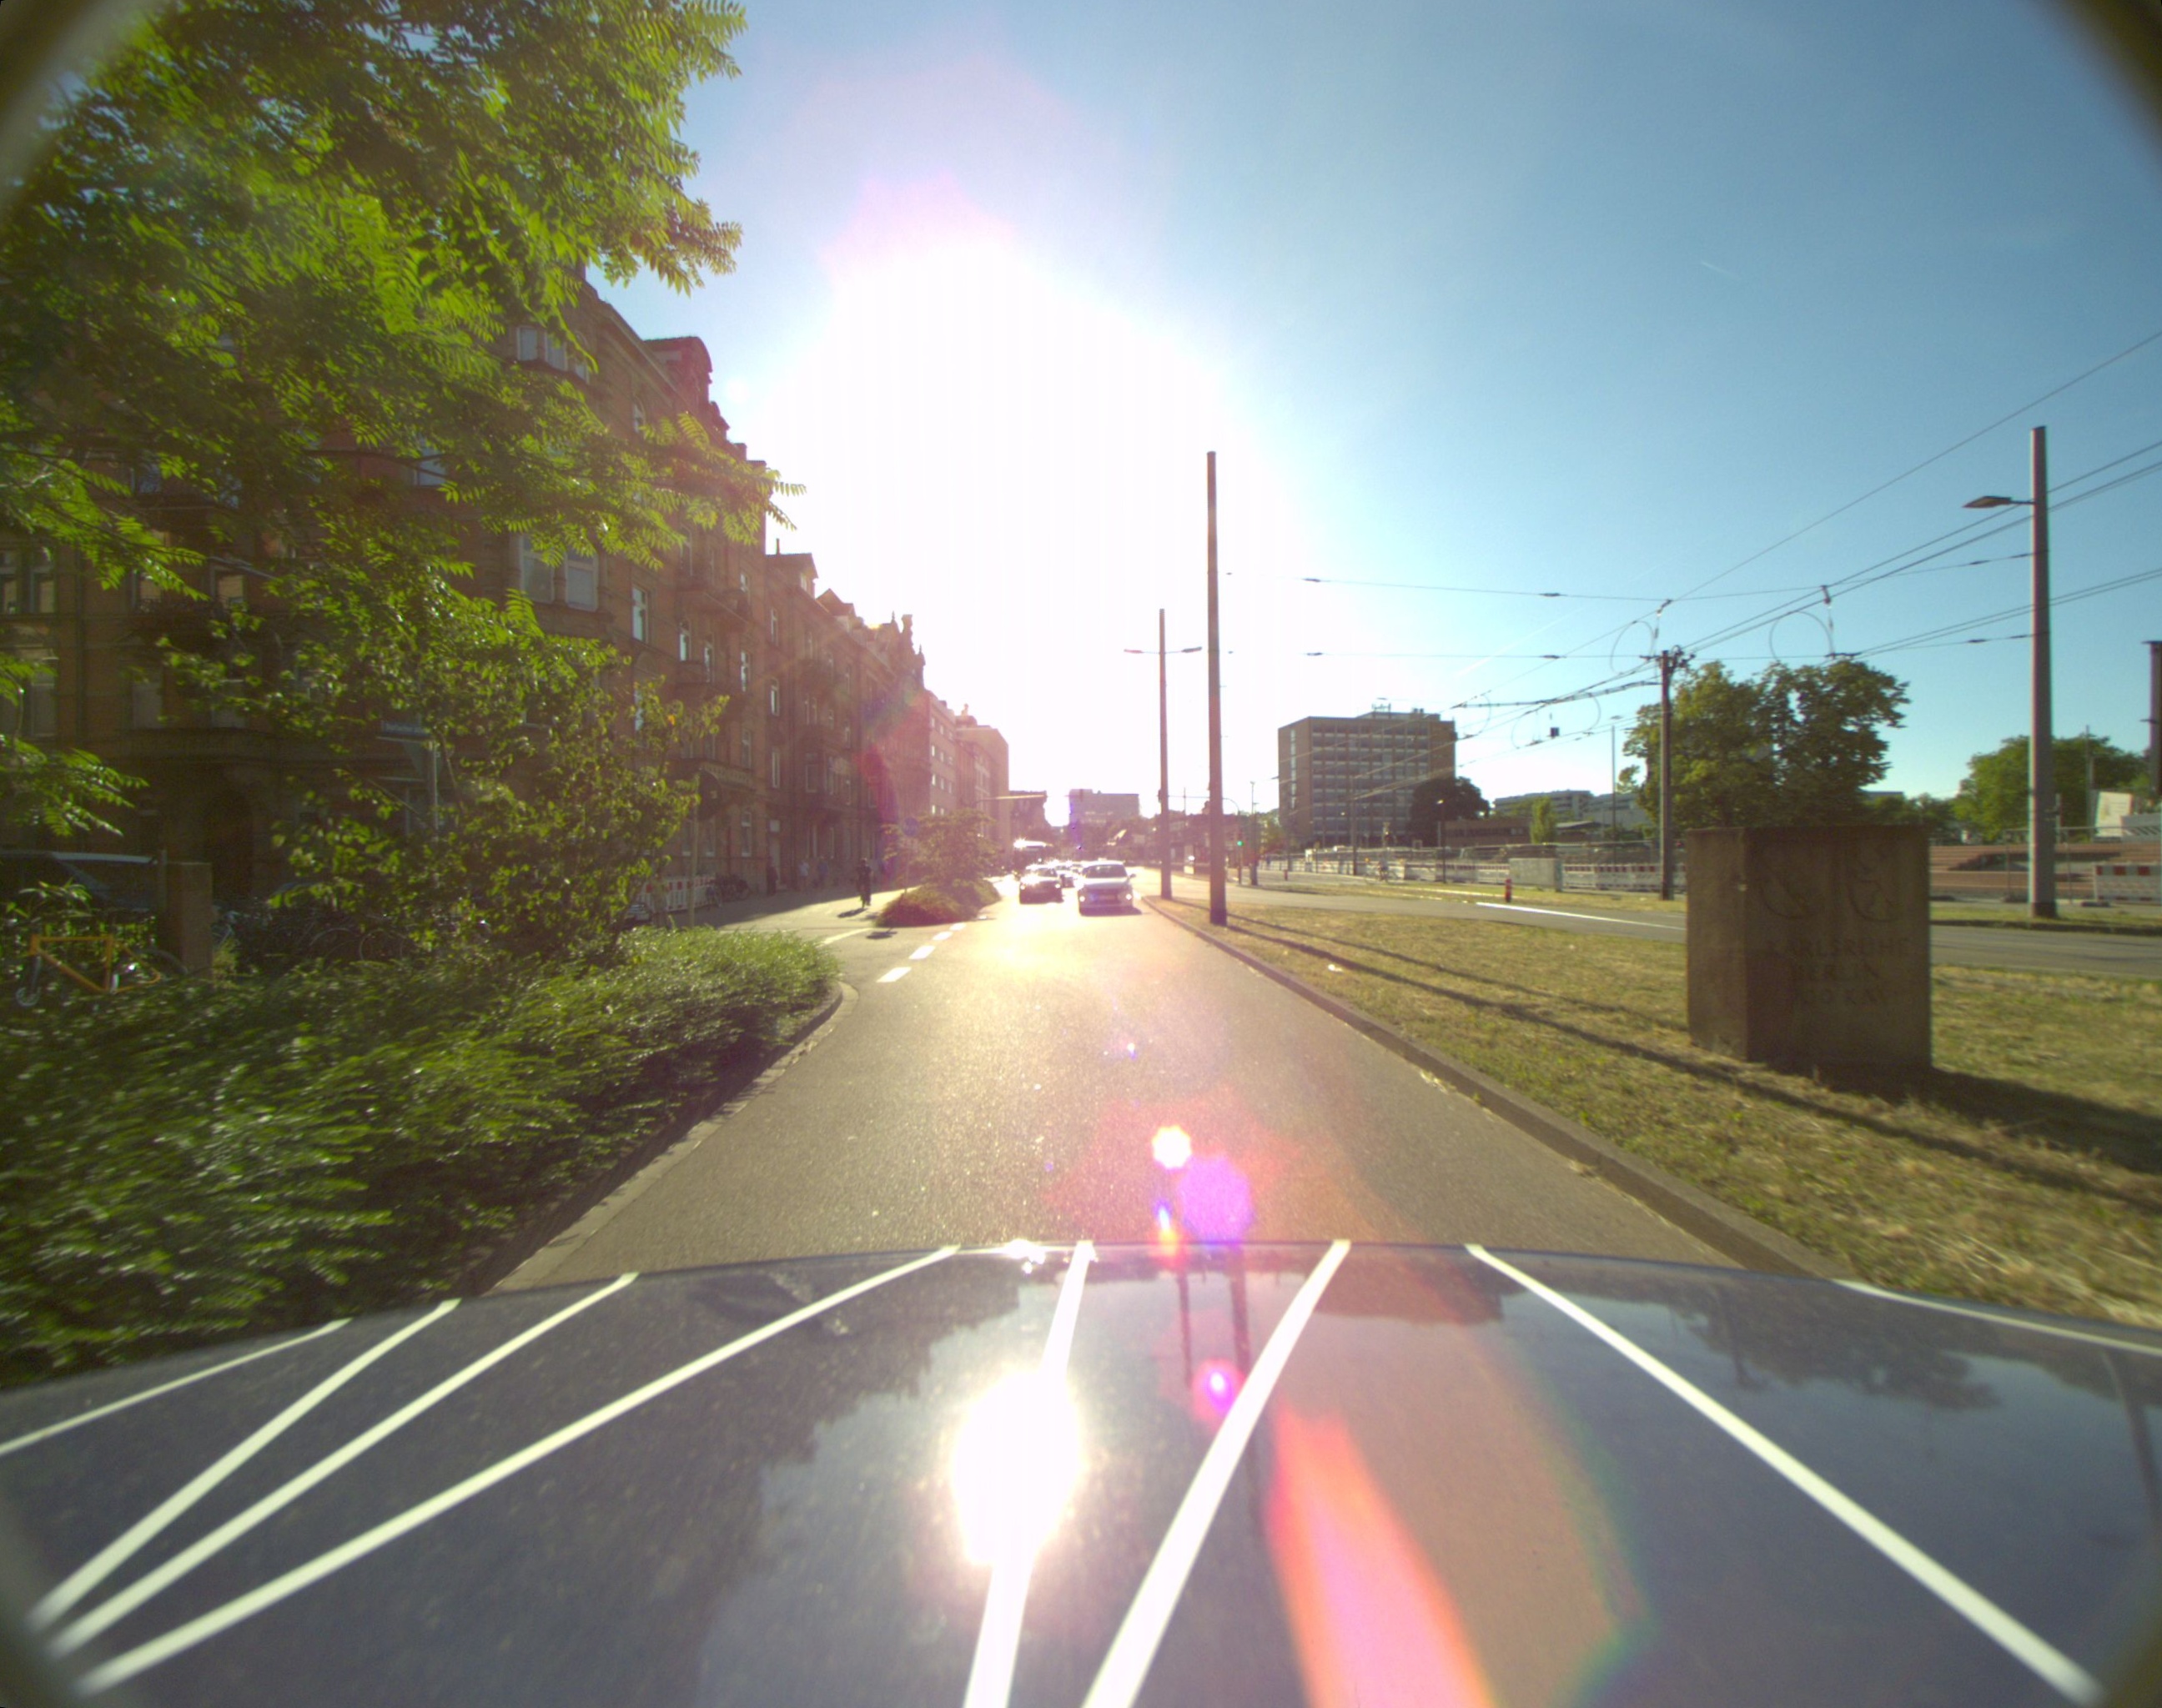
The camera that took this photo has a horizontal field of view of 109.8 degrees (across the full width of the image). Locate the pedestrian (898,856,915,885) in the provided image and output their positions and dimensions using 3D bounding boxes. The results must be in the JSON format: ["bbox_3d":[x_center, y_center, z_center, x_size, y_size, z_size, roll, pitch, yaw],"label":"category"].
[{"bbox_3d":[-10.110,0.970,44.094,0.704,1.646,1.137,-1,0,1],"label":"pedestrian"}]

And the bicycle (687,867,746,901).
[{"bbox_3d":[-13.482,1.109,28.118,1.890,1.232,0.490,0,2,-11],"label":"bicycle"}]

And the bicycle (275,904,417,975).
[{"bbox_3d":[-11.982,1.361,12.475,0.519,1.041,1.822,0,-3,1],"label":"bicycle"}]

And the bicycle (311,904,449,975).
[{"bbox_3d":[-11.430,1.363,12.483,0.519,1.041,1.822,0,-3,1],"label":"bicycle"}]

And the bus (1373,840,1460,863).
[{"bbox_3d":[53.590,-0.318,121.933,2.848,3.173,12.627,3,-4,-45],"label":"bus"}]

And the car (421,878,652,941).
[{"bbox_3d":[-13.017,1.324,18.358,4.261,1.406,1.814,0,-3,1],"label":"car"}]

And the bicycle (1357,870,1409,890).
[{"bbox_3d":[18.033,1.552,45.413,2.818,1.090,0.967,-2,-3,17],"label":"bicycle"}]

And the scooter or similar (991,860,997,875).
[{"bbox_3d":[-7.552,1.174,65.789,0.433,1.242,1.293,0,1,-10],"label":"scooter or similar"}]

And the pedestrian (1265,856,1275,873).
[{"bbox_3d":[19.601,1.100,78.881,0.804,1.757,1.180,0,-2,1],"label":"pedestrian"}]

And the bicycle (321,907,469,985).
[{"bbox_3d":[-10.208,1.333,11.409,0.519,1.041,1.822,0,-3,1],"label":"bicycle"}]

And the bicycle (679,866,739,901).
[{"bbox_3d":[-13.466,1.078,27.530,1.890,1.232,0.490,0,2,-11],"label":"bicycle"}]

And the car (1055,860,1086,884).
[{"bbox_3d":[-0.636,1.123,46.322,1.825,1.379,4.458,1,-2,-1],"label":"car"}]

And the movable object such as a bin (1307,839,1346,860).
[{"bbox_3d":[33.001,-0.575,102.272,2.637,2.509,5.165,1,-3,-16],"label":"movable object such as a bin"}]

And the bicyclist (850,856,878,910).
[{"bbox_3d":[-7.448,0.985,26.104,0.643,1.804,1.052,0,1,1],"label":"bicyclist"}]

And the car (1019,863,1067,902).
[{"bbox_3d":[-1.497,1.123,30.889,1.694,1.380,3.831,-1,0,0],"label":"car"}]

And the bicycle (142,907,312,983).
[{"bbox_3d":[-13.168,1.367,11.807,0.519,1.041,1.822,0,-3,1],"label":"bicycle"}]

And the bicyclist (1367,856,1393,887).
[{"bbox_3d":[17.877,1.087,45.462,1.317,1.797,0.967,-2,-3,17],"label":"bicyclist"}]

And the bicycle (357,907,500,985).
[{"bbox_3d":[-9.695,1.334,11.398,0.519,1.041,1.822,0,-3,1],"label":"bicycle"}]

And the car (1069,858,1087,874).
[{"bbox_3d":[-0.341,1.219,78.271,1.783,1.455,3.915,-1,0,-1],"label":"car"}]

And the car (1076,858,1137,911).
[{"bbox_3d":[0.819,0.885,23.760,1.720,1.483,3.871,-2,0,2],"label":"car"}]

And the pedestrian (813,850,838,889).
[{"bbox_3d":[-12.830,0.793,38.235,0.824,1.918,1.137,-1,0,1],"label":"pedestrian"}]

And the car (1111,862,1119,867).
[{"bbox_3d":[11.107,3.288,247.638,1.757,1.455,4.016,-1,-2,-11],"label":"car"}]

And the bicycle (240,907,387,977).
[{"bbox_3d":[-12.515,1.403,12.480,0.519,1.041,1.822,0,-3,1],"label":"bicycle"}]

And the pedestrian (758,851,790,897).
[{"bbox_3d":[-12.969,0.836,32.137,0.824,1.918,1.137,-1,0,1],"label":"pedestrian"}]

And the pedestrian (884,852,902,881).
[{"bbox_3d":[-10.928,0.736,44.169,0.704,1.646,1.137,-1,0,1],"label":"pedestrian"}]

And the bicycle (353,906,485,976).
[{"bbox_3d":[-10.786,1.386,12.472,0.519,1.041,1.822,0,-3,1],"label":"bicycle"}]

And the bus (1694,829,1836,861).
[{"bbox_3d":[83.158,-1.011,92.677,3.259,3.173,12.627,3,-4,-45],"label":"bus"}]

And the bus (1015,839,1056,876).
[{"bbox_3d":[-4.026,0.316,69.856,2.721,3.162,12.542,0,0,2],"label":"bus"}]

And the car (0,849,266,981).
[{"bbox_3d":[-17.608,1.066,13.365,4.588,2.111,1.776,-1,-3,0],"label":"car"}]

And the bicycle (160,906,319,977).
[{"bbox_3d":[-13.697,1.399,12.460,0.519,1.041,1.822,0,-3,1],"label":"bicycle"}]

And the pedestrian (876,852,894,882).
[{"bbox_3d":[-12.584,0.816,48.782,0.824,1.918,1.137,-1,0,1],"label":"pedestrian"}]

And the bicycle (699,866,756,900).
[{"bbox_3d":[-13.351,1.095,28.733,1.890,1.232,0.490,0,2,-11],"label":"bicycle"}]

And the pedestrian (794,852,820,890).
[{"bbox_3d":[-13.800,0.848,38.258,0.824,1.918,1.137,-1,0,1],"label":"pedestrian"}]

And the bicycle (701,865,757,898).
[{"bbox_3d":[-13.551,1.063,29.275,1.890,1.232,0.490,0,2,-11],"label":"bicycle"}]

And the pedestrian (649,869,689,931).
[{"bbox_3d":[-10.505,1.158,19.372,0.701,1.525,0.663,-1,0,43],"label":"pedestrian"}]

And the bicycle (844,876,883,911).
[{"bbox_3d":[-7.436,1.328,26.076,0.643,1.042,2.360,0,1,1],"label":"bicycle"}]

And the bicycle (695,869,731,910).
[{"bbox_3d":[-11.985,1.129,24.781,0.490,1.232,1.887,0,1,-7],"label":"bicycle"}]

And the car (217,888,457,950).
[{"bbox_3d":[-18.151,1.569,18.663,4.260,1.406,1.814,-1,-3,4],"label":"car"}]

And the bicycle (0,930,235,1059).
[{"bbox_3d":[-9.215,1.246,7.153,0.526,0.982,1.723,0,-3,0],"label":"bicycle"}]

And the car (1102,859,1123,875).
[{"bbox_3d":[3.493,1.413,84.707,1.999,1.666,4.282,-2,1,0],"label":"car"}]
